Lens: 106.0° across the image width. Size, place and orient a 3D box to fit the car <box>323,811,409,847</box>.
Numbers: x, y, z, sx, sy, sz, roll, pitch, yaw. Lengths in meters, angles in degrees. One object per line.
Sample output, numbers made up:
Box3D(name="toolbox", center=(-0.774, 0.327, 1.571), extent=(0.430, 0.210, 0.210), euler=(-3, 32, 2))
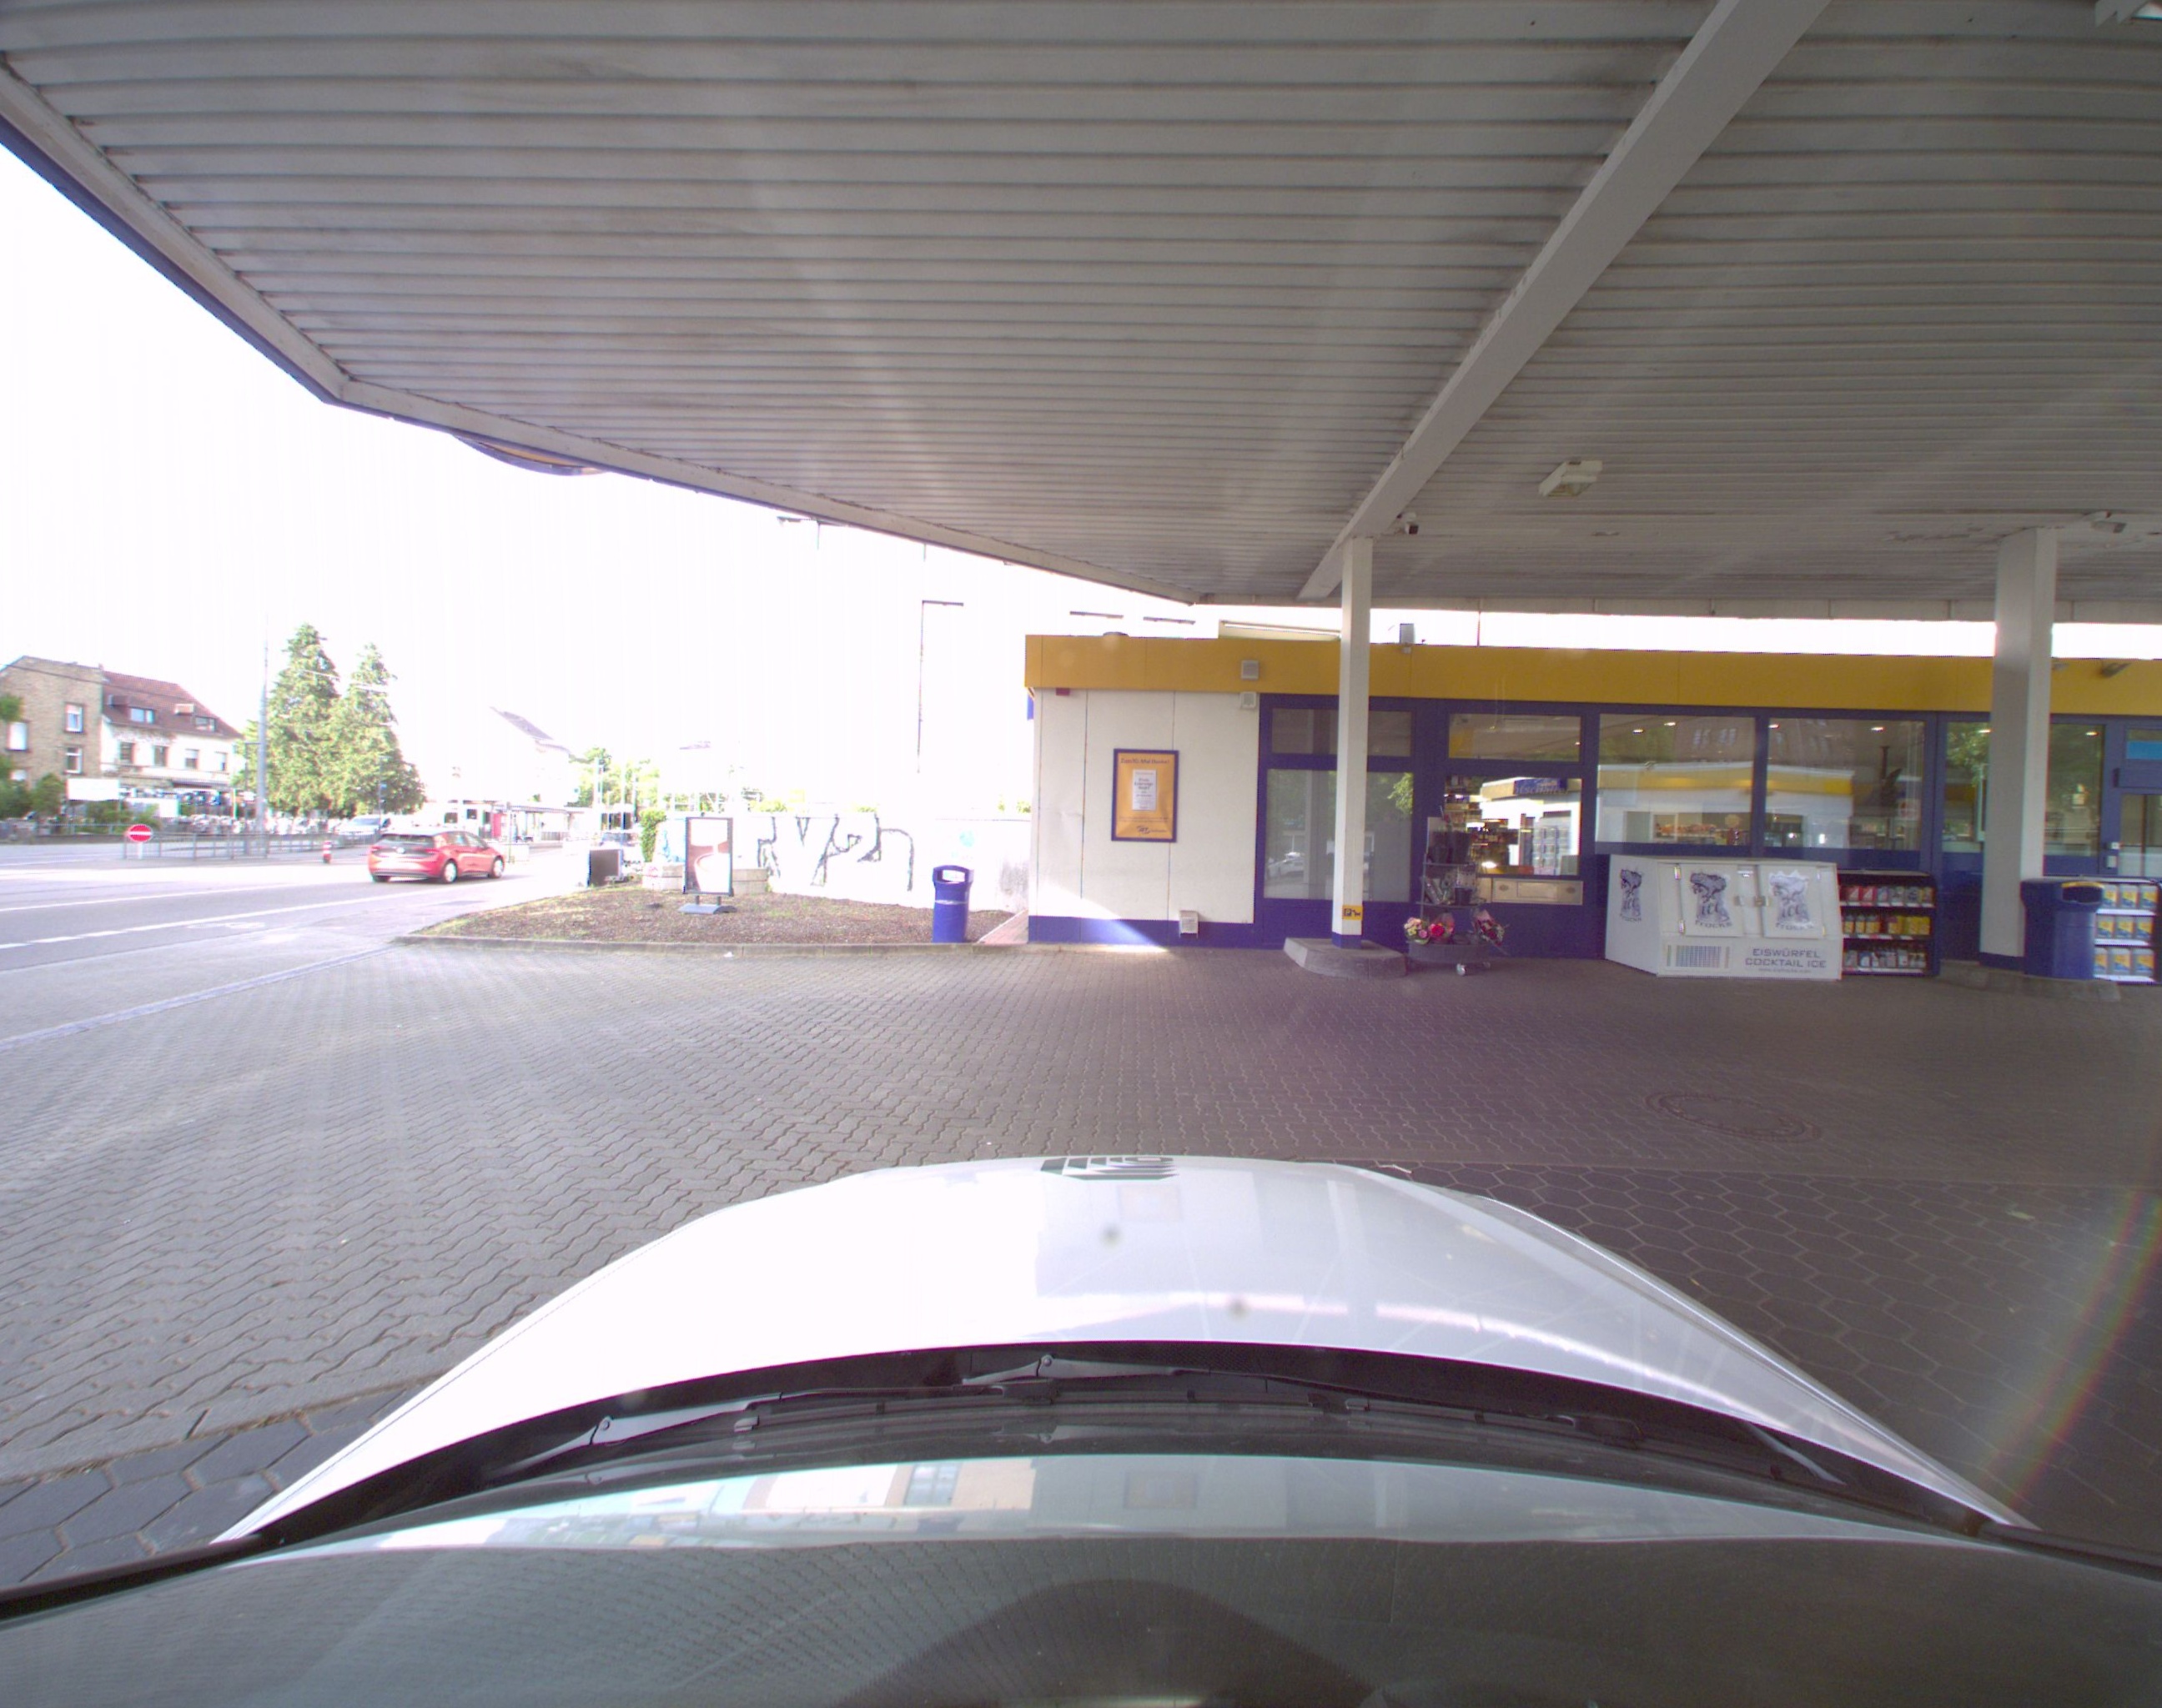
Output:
Box3D(name="car", center=(-40.887, -1.401, 46.742), extent=(1.966, 1.889, 4.388), euler=(1, 0, -16))

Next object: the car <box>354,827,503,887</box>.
Box3D(name="car", center=(-18.649, 0.047, 23.522), extent=(1.767, 1.543, 4.111), euler=(2, 0, -15))

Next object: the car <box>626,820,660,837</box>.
Box3D(name="car", center=(-53.099, -3.091, 98.808), extent=(1.992, 1.968, 4.877), euler=(1, 1, -8))

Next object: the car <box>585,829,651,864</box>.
Box3D(name="car", center=(-22.124, -0.390, 39.080), extent=(1.728, 1.542, 3.981), euler=(2, 1, -15))
